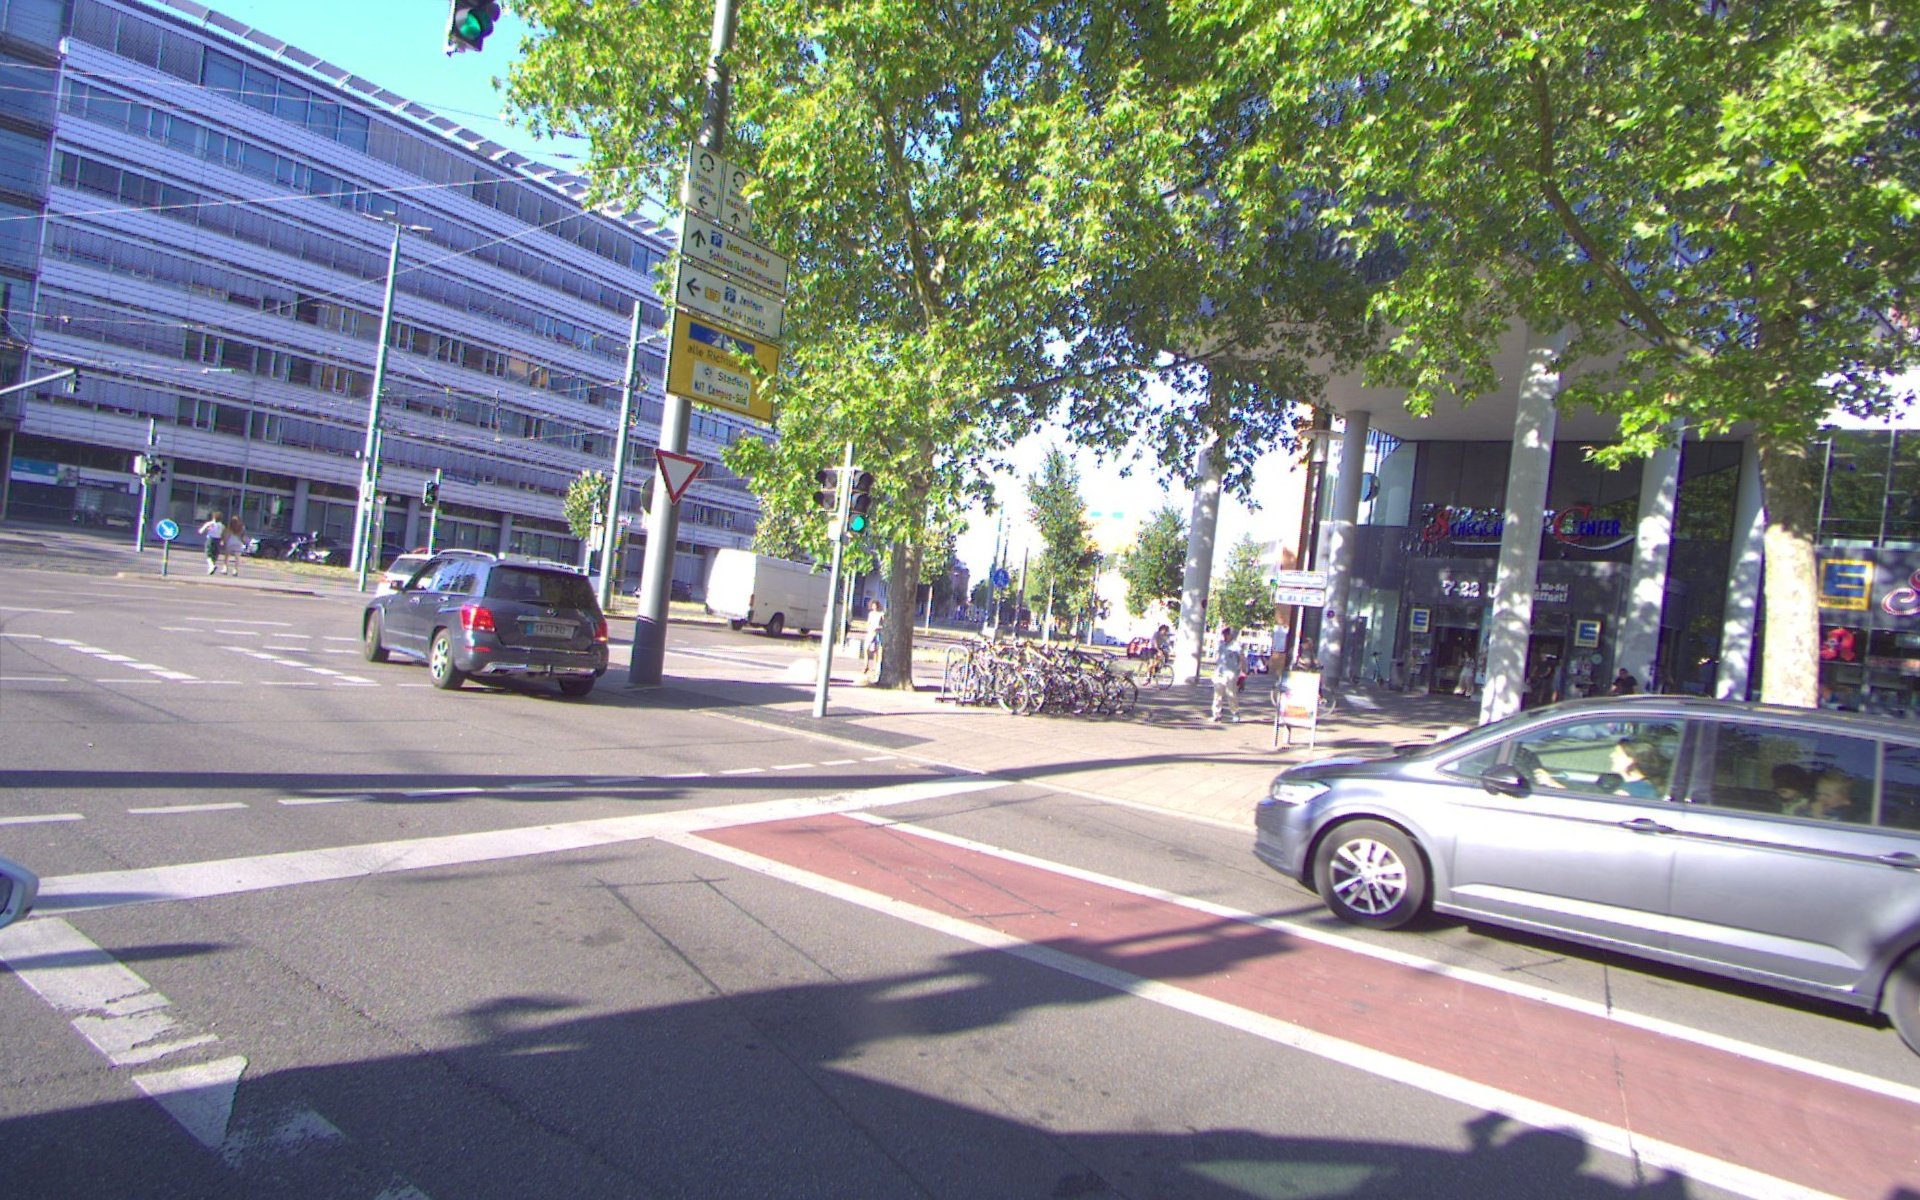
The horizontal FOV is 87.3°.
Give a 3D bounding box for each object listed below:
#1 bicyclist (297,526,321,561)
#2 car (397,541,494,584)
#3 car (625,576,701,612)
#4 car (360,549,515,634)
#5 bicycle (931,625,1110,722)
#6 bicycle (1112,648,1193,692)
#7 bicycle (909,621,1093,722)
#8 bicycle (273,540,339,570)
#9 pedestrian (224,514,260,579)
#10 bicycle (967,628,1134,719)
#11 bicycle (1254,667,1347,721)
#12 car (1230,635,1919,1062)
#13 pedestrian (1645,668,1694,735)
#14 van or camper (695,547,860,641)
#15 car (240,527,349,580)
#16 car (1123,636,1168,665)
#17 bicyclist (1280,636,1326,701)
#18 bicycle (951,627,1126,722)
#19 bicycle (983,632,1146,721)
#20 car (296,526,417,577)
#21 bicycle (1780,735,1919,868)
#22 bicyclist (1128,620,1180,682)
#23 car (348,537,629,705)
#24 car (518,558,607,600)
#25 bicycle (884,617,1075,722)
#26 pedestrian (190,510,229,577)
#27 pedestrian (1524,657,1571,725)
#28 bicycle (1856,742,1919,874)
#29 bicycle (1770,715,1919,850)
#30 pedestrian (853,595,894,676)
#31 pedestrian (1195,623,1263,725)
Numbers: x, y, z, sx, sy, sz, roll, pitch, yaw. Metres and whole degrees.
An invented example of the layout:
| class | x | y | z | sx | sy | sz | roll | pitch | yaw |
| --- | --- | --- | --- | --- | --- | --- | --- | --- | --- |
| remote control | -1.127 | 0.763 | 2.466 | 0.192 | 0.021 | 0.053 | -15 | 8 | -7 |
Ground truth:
| class | x | y | z | sx | sy | sz | roll | pitch | yaw |
| --- | --- | --- | --- | --- | --- | --- | --- | --- | --- |
| bicyclist | -30.000 | -2.597 | 46.375 | 0.604 | 1.521 | 0.663 | 7 | 1 | 37 |
| car | -26.399 | -1.882 | 51.705 | 1.770 | 1.569 | 3.990 | 6 | -3 | 36 |
| car | -18.403 | -0.351 | 62.505 | 1.852 | 1.614 | 4.121 | 6 | -3 | 35 |
| car | -11.007 | -0.140 | 21.497 | 1.613 | 1.445 | 3.981 | 7 | -1 | -9 |
| bicycle | 0.975 | 1.208 | 16.919 | 2.896 | 1.252 | 0.705 | 6 | -2 | 31 |
| bicycle | 5.344 | 1.937 | 28.062 | 2.072 | 0.964 | 0.744 | 6 | 1 | 42 |
| bicycle | 0.620 | 1.134 | 16.293 | 2.896 | 1.243 | 0.686 | 6 | -2 | 31 |
| bicycle | -30.089 | -2.062 | 46.345 | 0.627 | 1.035 | 2.409 | 7 | 0 | 36 |
| pedestrian | -20.862 | -1.550 | 29.218 | 0.679 | 1.781 | 0.734 | 6 | 1 | -38 |
| bicycle | 1.608 | 1.312 | 18.253 | 2.896 | 1.252 | 0.705 | 6 | -1 | 31 |
| bicycle | 8.295 | 2.280 | 24.632 | 0.595 | 1.028 | 2.176 | 4 | 2 | -33 |
| car | 4.104 | 1.340 | 6.117 | 4.316 | 1.655 | 1.709 | 7 | -1 | 31 |
| pedestrian | 19.886 | 2.842 | 28.216 | 0.641 | 1.765 | 0.828 | 6 | 1 | -40 |
| van or camper | -6.124 | -0.093 | 34.853 | 1.971 | 2.646 | 6.493 | 7 | -1 | 26 |
| car | -33.605 | -2.318 | 50.892 | 1.967 | 2.036 | 3.995 | 6 | -2 | 32 |
| car | 11.783 | 3.200 | 63.838 | 1.471 | 1.476 | 3.591 | 7 | -2 | 32 |
| bicyclist | 8.369 | 1.662 | 24.579 | 0.586 | 1.504 | 0.744 | 4 | 2 | -34 |
| bicycle | 1.336 | 1.283 | 17.557 | 2.896 | 1.251 | 0.705 | 6 | -3 | 31 |
| bicycle | 1.924 | 1.414 | 18.921 | 2.896 | 1.250 | 0.698 | 6 | -4 | 31 |
| car | -27.376 | -2.174 | 45.762 | 1.854 | 1.744 | 4.256 | 7 | 0 | 34 |
| bicycle | 10.908 | 2.266 | 10.313 | 3.759 | 1.234 | 0.756 | 5 | -2 | 38 |
| bicyclist | 5.415 | 1.410 | 28.095 | 1.016 | 1.585 | 0.804 | 6 | -1 | 42 |
| car | -6.231 | 0.205 | 13.063 | 4.193 | 1.655 | 1.762 | 6 | -2 | 43 |
| car | -21.344 | -1.112 | 54.191 | 1.852 | 1.614 | 3.991 | 6 | -3 | 35 |
| bicycle | 0.263 | 1.055 | 15.669 | 2.896 | 1.252 | 0.705 | 6 | -1 | 31 |
| pedestrian | -21.416 | -1.616 | 28.707 | 0.673 | 1.781 | 0.735 | 7 | 2 | -34 |
| pedestrian | 18.712 | 2.894 | 32.043 | 0.818 | 2.037 | 0.825 | 8 | -1 | -34 |
| bicycle | 10.430 | 2.178 | 9.711 | 2.514 | 1.234 | 0.756 | 5 | -2 | 38 |
| bicycle | 11.336 | 2.261 | 10.955 | 3.757 | 1.235 | 0.727 | 10 | 1 | 38 |
| pedestrian | -1.814 | 0.749 | 21.180 | 0.523 | 1.644 | 0.543 | 7 | 1 | 19 |
| pedestrian | 5.337 | 1.454 | 20.009 | 0.800 | 1.913 | 0.871 | 5 | 1 | -16 |
